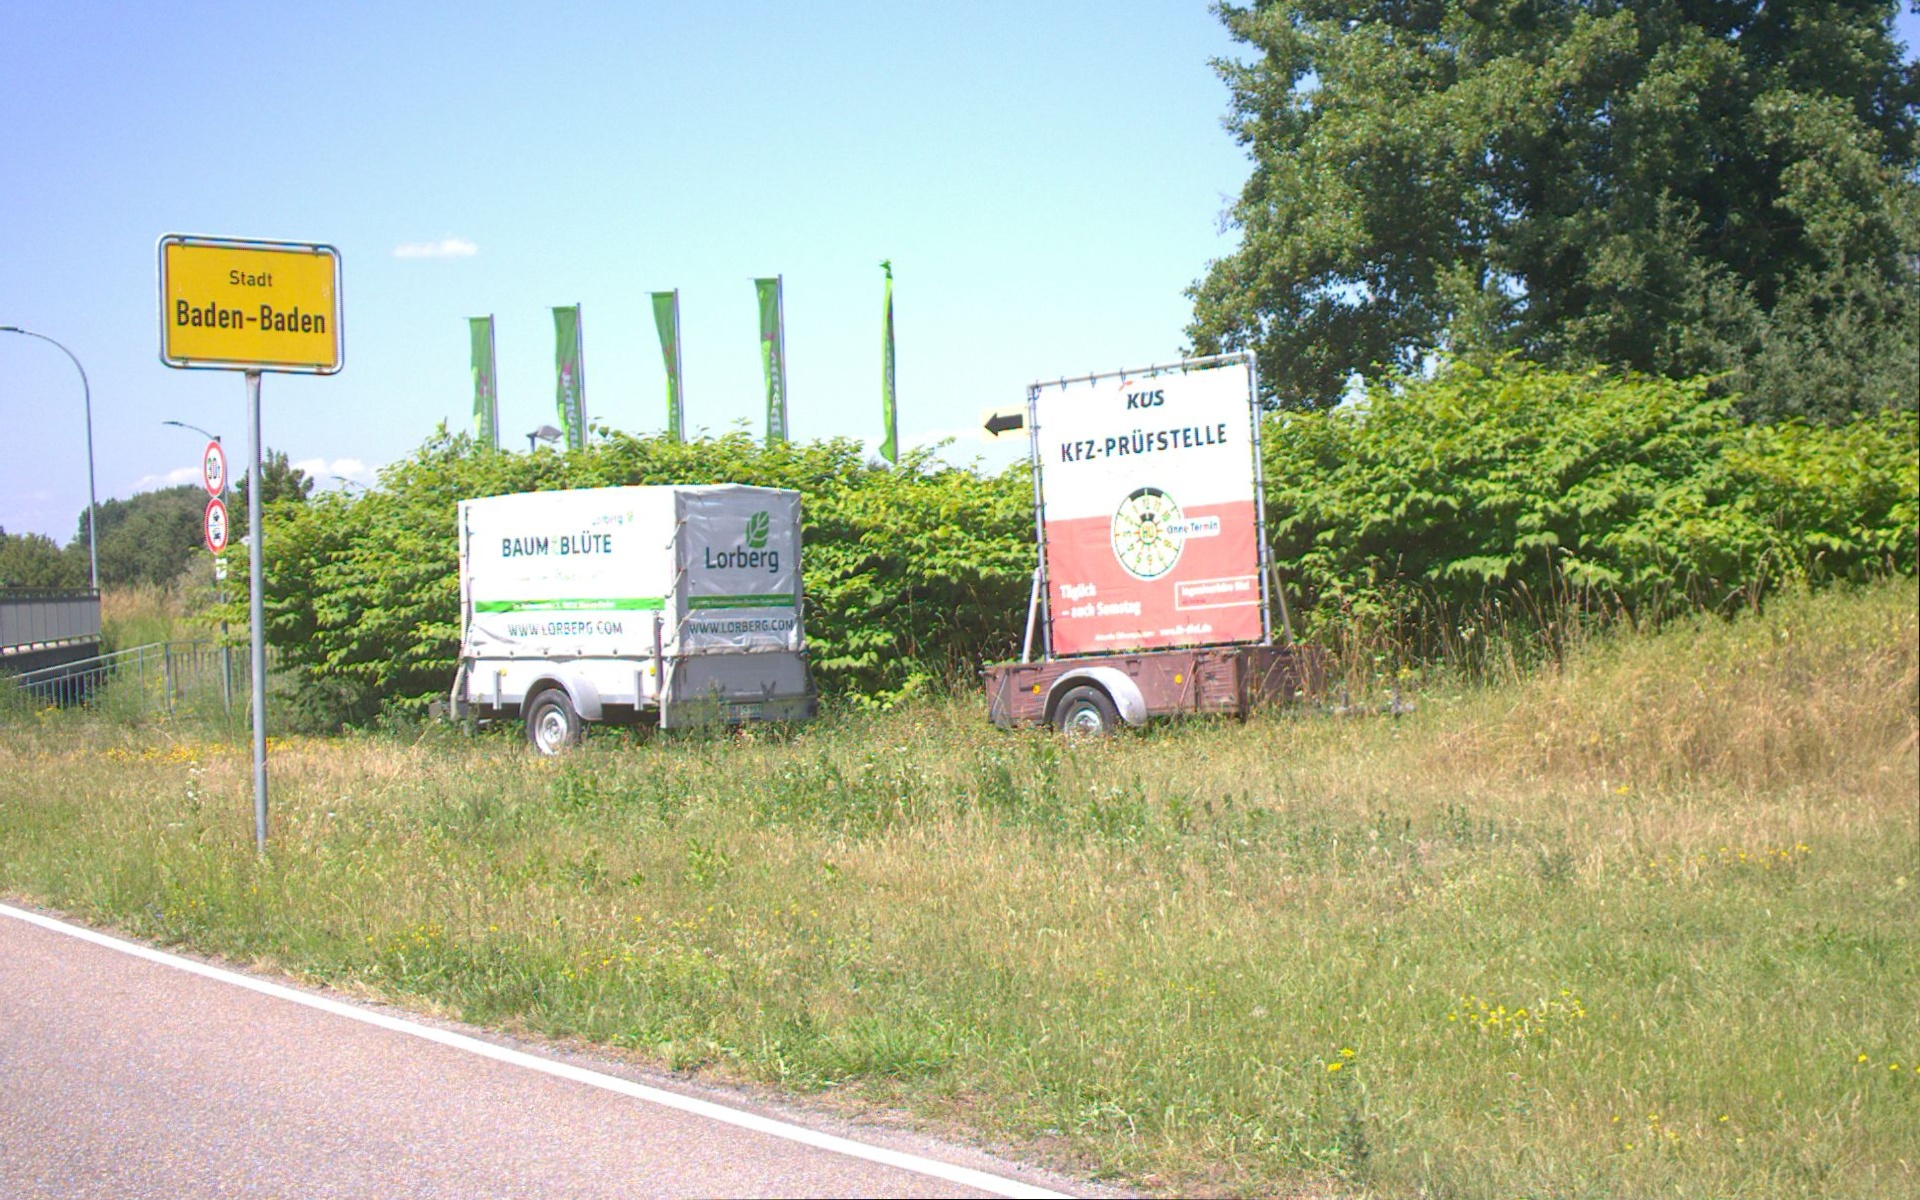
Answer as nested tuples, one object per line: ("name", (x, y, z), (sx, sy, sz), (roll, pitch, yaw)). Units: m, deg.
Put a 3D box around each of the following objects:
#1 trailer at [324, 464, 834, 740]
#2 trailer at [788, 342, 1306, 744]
("trailer", (-3.128, 0.048, 27.797), (3.966, 2.071, 1.847), (-2, 0, 42))
("trailer", (0.595, -0.357, 24.487), (3.144, 2.661, 1.847), (-2, 0, 42))
